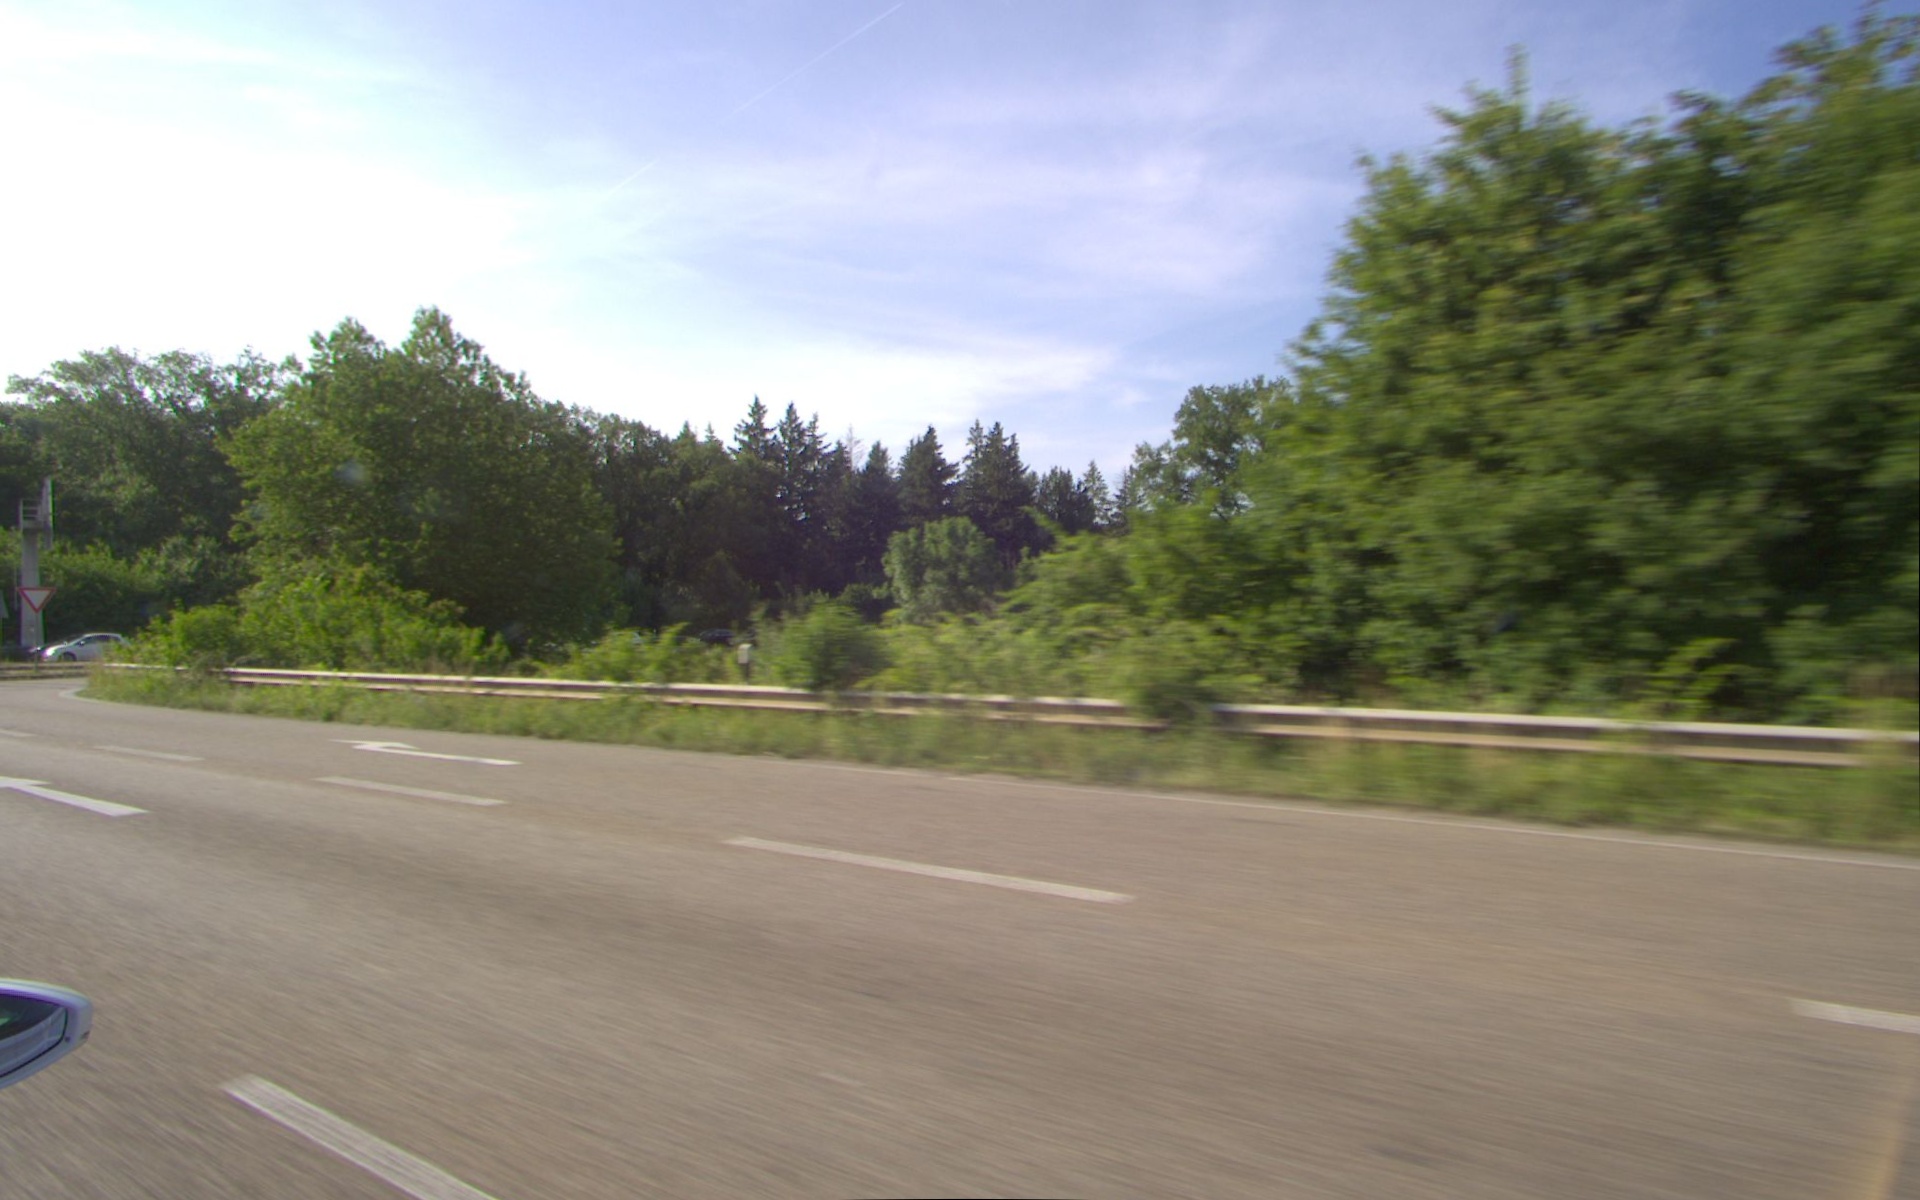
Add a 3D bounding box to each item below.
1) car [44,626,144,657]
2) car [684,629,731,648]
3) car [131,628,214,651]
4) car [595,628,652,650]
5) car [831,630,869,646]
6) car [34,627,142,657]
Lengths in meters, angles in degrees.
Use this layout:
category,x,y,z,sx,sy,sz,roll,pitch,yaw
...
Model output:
category,x,y,z,sx,sy,sz,roll,pitch,yaw
car,-43.939,2.085,50.852,1.785,1.523,3.585,-1,-1,37
car,-21.295,3.235,84.571,1.786,1.523,3.583,-1,-1,39
car,-46.381,2.301,58.992,1.472,1.330,3.614,-1,-1,37
car,-24.792,2.871,73.863,1.786,1.523,3.583,-1,-1,39
car,-10.907,3.740,99.861,1.786,1.523,3.583,-1,-1,39
car,-46.577,2.190,53.542,1.762,1.515,4.097,-1,-1,36
